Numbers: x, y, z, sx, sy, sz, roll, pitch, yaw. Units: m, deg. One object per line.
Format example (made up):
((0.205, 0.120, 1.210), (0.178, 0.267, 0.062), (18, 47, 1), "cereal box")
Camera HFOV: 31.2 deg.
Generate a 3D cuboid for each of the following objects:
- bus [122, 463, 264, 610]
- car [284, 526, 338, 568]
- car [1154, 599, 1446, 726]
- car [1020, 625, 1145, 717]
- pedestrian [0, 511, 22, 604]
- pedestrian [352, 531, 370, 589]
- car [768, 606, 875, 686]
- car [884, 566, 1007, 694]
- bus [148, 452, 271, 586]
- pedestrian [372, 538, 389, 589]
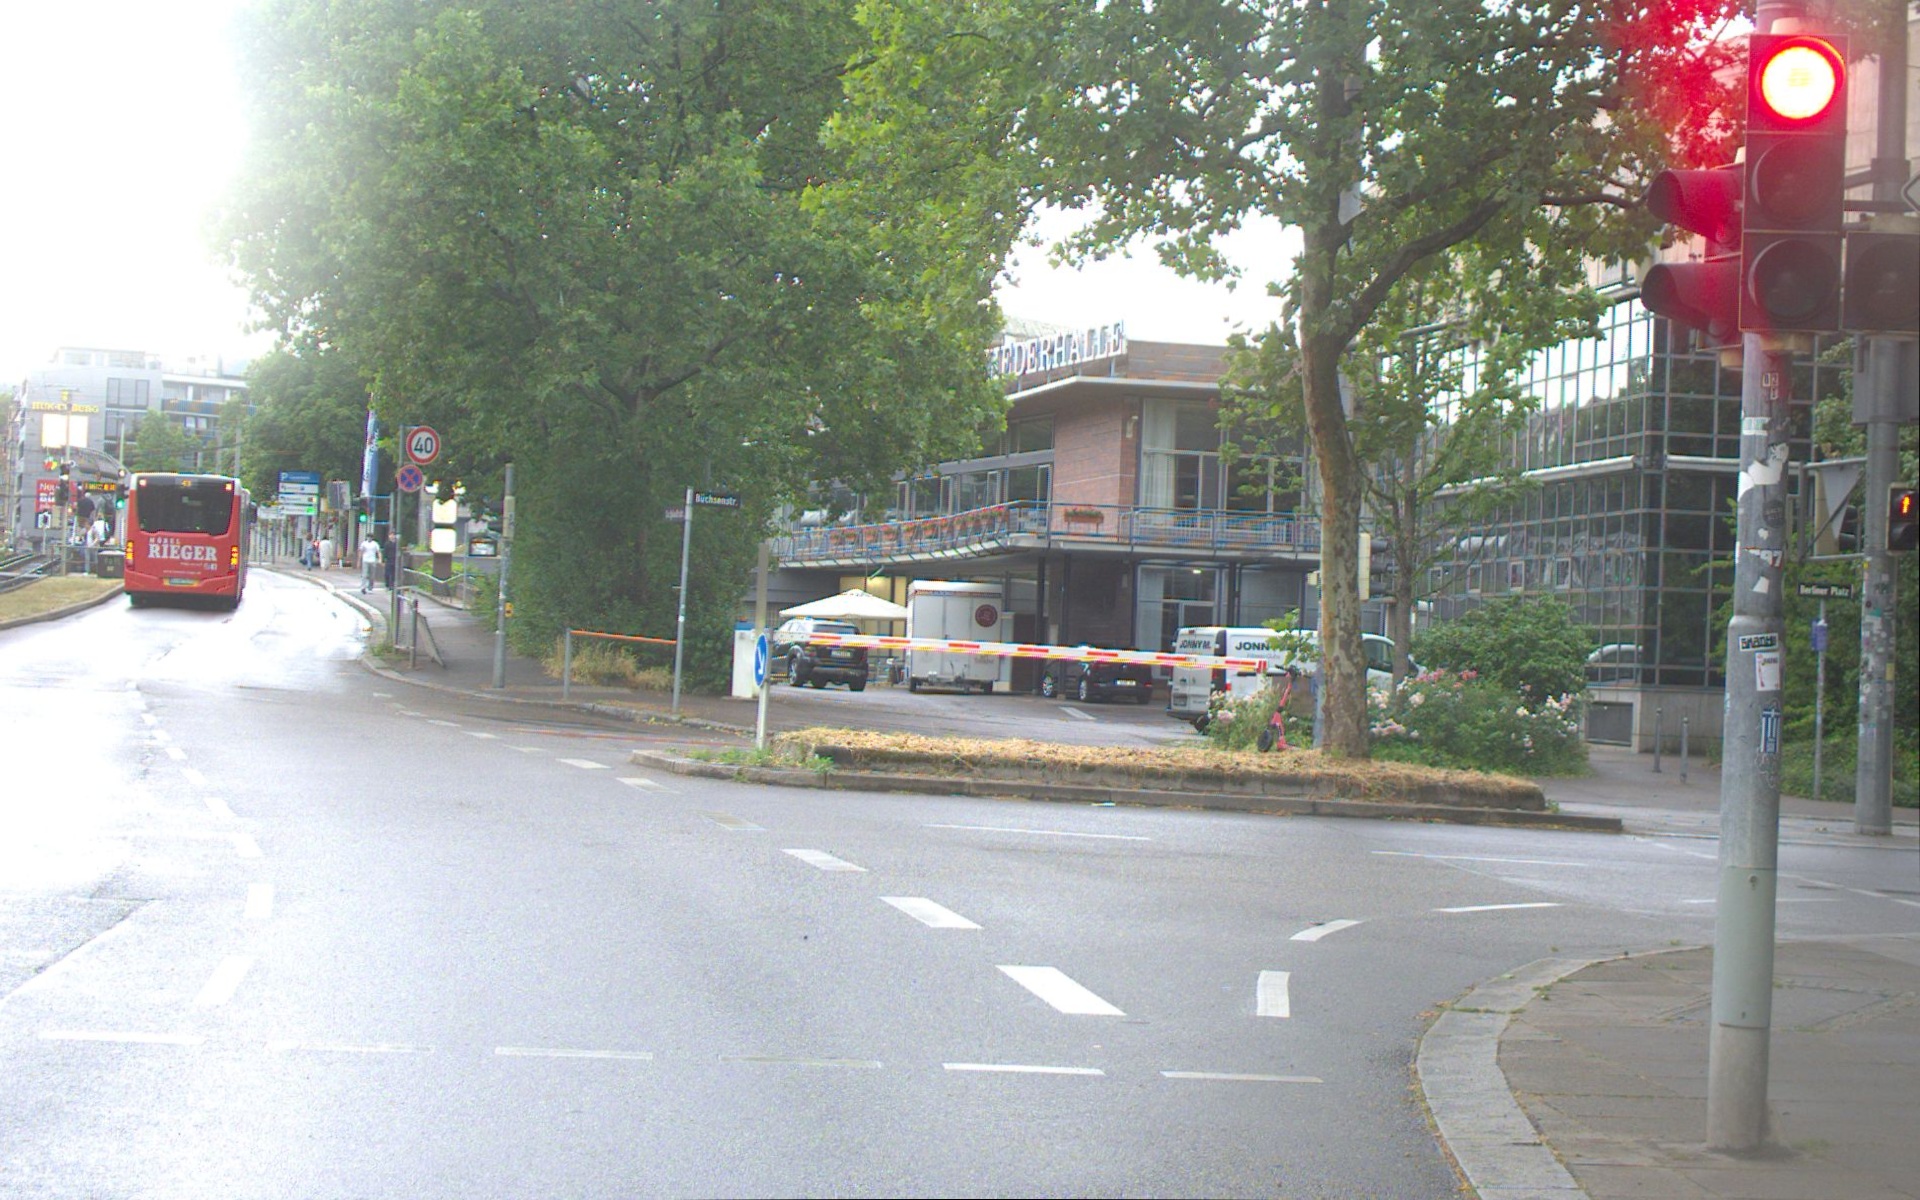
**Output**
((-18.126, -1.441, 81.691), (2.654, 3.100, 9.187), (4, -1, -10), "bus")
((-28.484, -2.307, 150.765), (1.993, 1.678, 4.001), (4, -1, -14), "car")
((6.140, 1.129, 62.070), (4.745, 1.937, 2.001), (4, -1, -22), "car")
((2.976, 1.719, 84.451), (1.993, 2.007, 4.001), (4, -1, -13), "car")
((-17.409, -0.783, 62.178), (0.737, 1.634, 0.871), (4, -1, -16), "pedestrian")
((-18.019, -1.204, 103.421), (0.371, 1.702, 0.644), (3, 0, -1), "pedestrian")
((-3.567, 1.161, 87.933), (1.993, 1.853, 4.001), (4, -1, -12), "car")
((-0.416, 0.774, 90.555), (2.544, 3.123, 5.032), (4, -1, -6), "car")
((-19.387, -2.002, 89.199), (2.549, 3.100, 9.458), (4, -1, -10), "bus")
((-17.453, -1.093, 103.565), (0.371, 1.520, 0.344), (3, 0, -1), "pedestrian")
